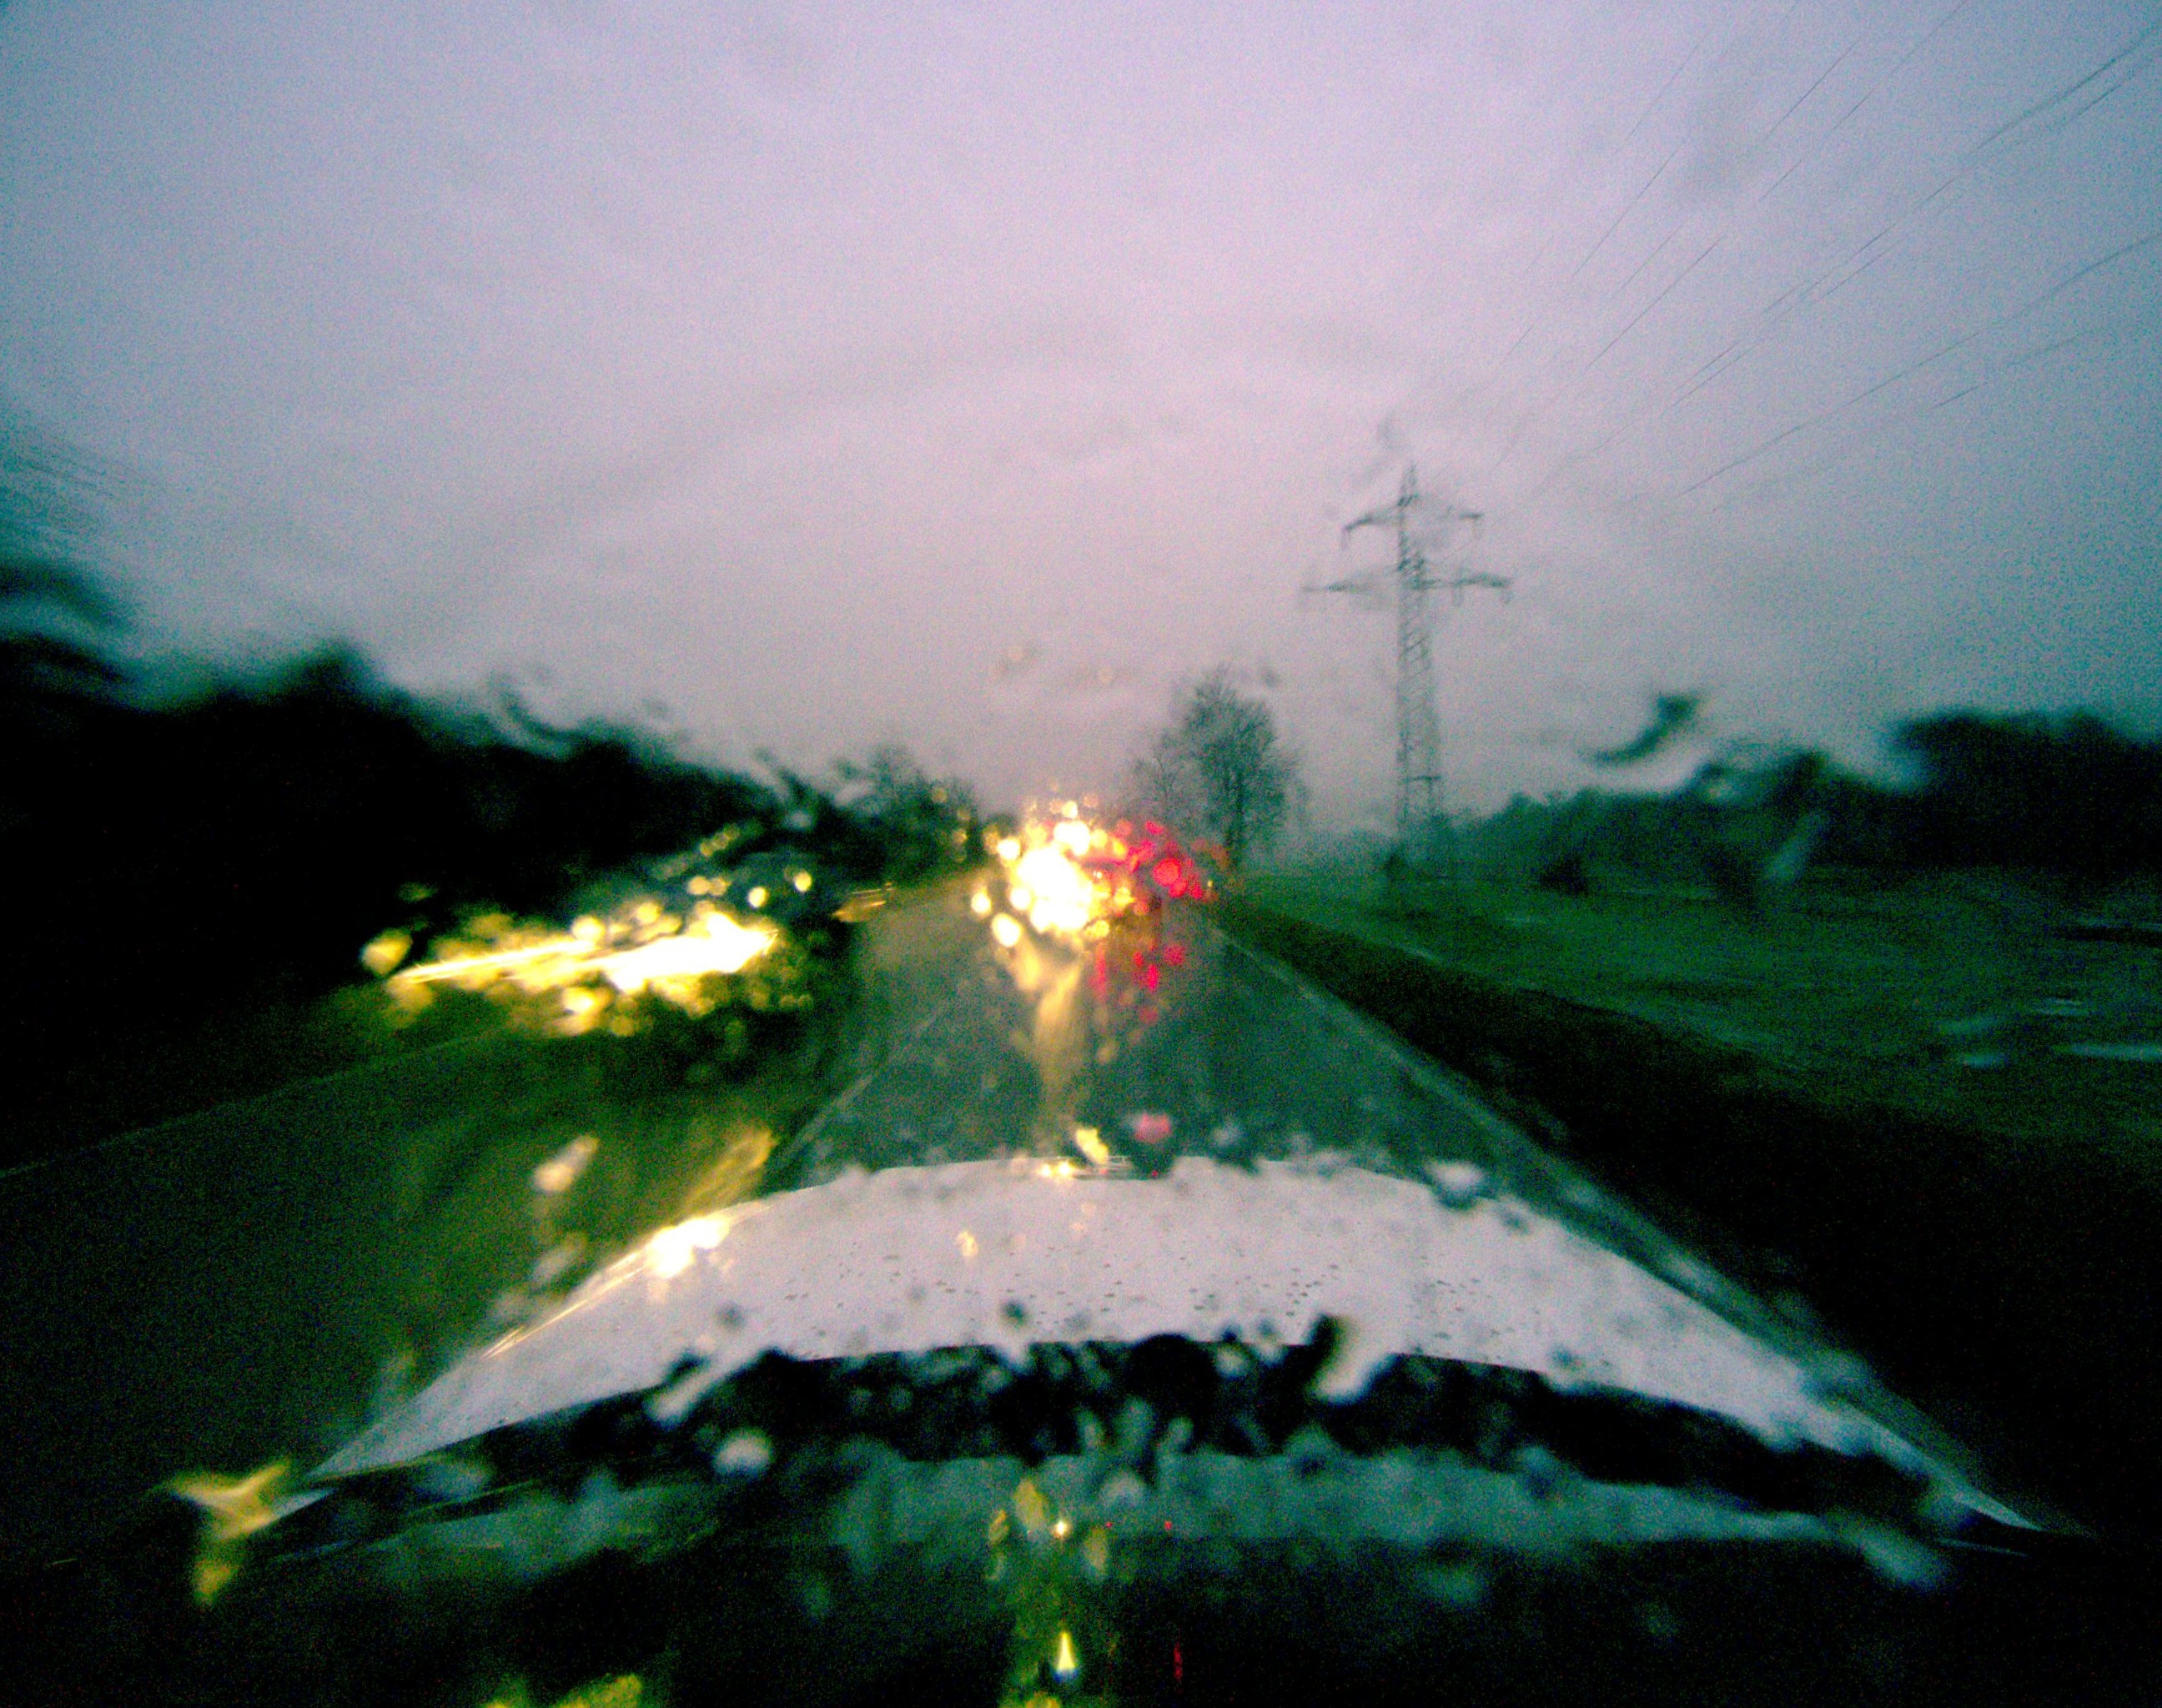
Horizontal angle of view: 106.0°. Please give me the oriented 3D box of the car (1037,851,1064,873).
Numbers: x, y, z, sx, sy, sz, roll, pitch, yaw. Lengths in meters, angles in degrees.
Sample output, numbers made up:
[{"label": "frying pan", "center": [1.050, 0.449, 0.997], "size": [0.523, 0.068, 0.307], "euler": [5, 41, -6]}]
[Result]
[{"label": "car", "center": [-2.453, 0.614, 66.356], "size": [1.856, 1.700, 4.469], "euler": [-1, 0, 1]}]

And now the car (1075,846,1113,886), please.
[{"label": "car", "center": [0.742, 0.612, 43.301], "size": [1.844, 2.013, 4.003], "euler": [0, 0, 3]}]

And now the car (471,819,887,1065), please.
[{"label": "car", "center": [-3.435, 0.630, 8.039], "size": [1.778, 1.750, 4.261], "euler": [-1, 0, 3]}]

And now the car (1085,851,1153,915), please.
[{"label": "car", "center": [0.934, 0.639, 19.620], "size": [1.494, 1.398, 3.202], "euler": [0, 0, 3]}]

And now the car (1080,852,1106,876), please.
[{"label": "car", "center": [0.904, 0.691, 61.265], "size": [1.856, 1.700, 4.469], "euler": [-1, 0, 1]}]
